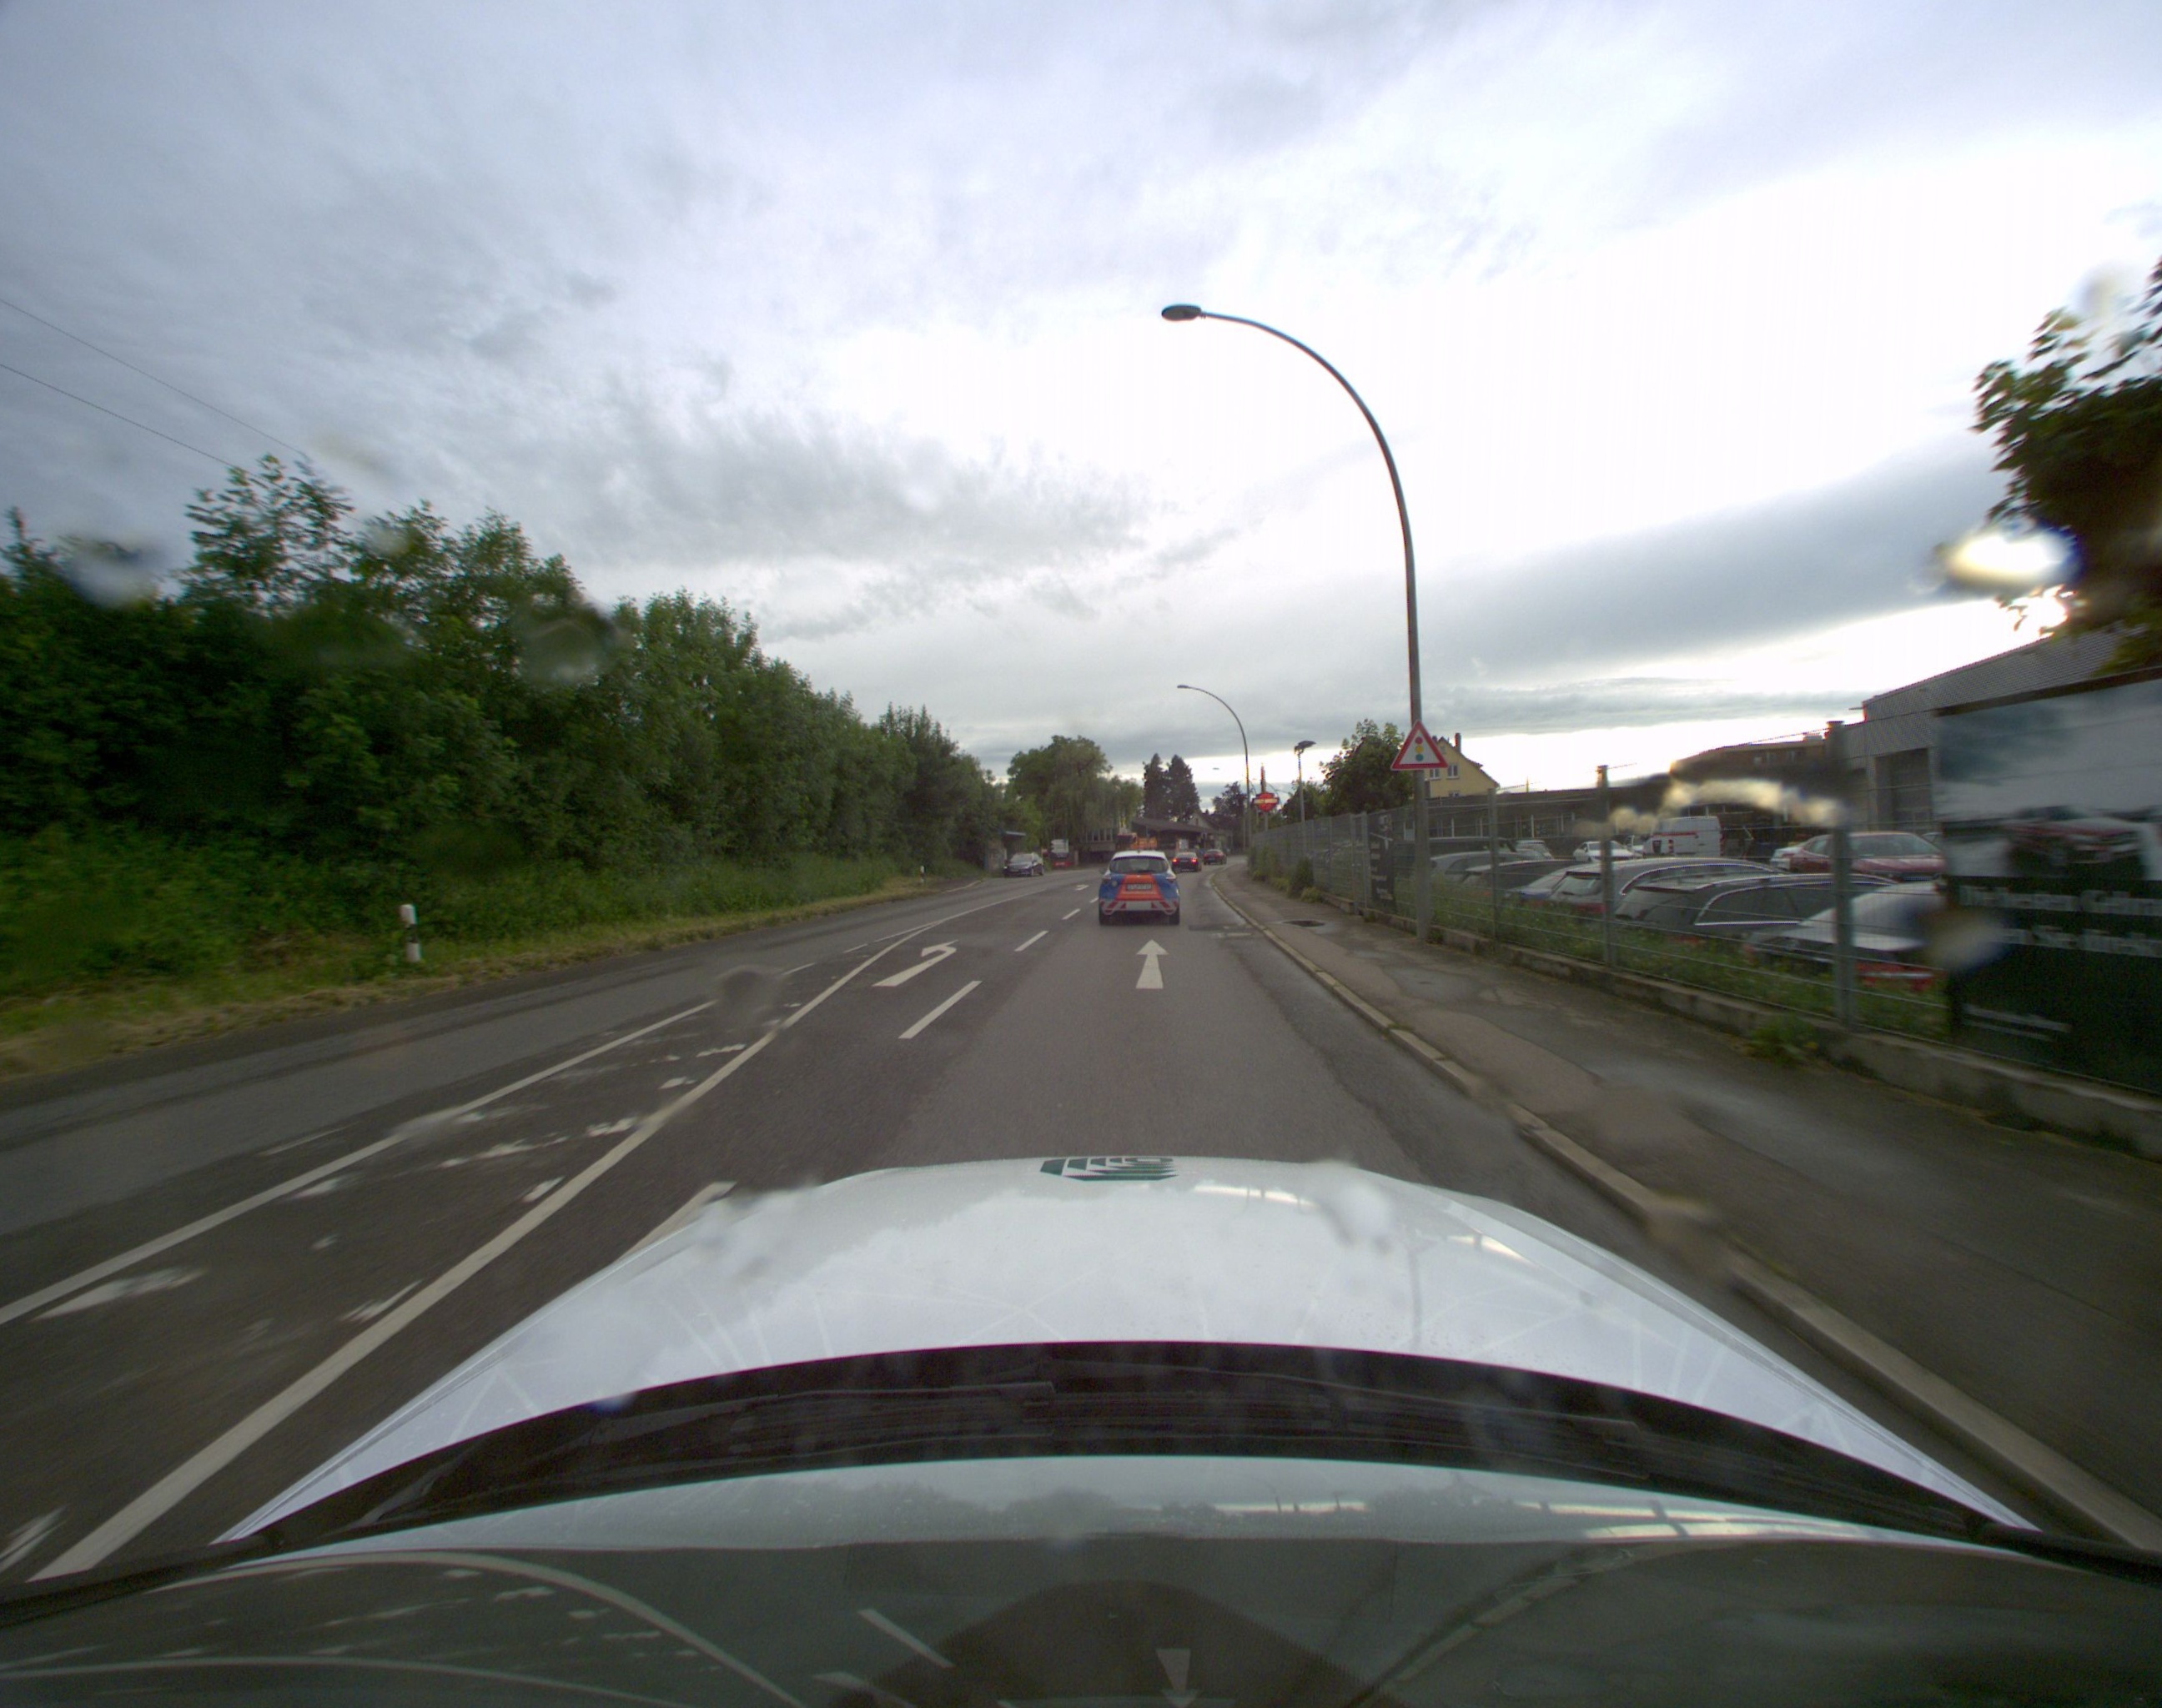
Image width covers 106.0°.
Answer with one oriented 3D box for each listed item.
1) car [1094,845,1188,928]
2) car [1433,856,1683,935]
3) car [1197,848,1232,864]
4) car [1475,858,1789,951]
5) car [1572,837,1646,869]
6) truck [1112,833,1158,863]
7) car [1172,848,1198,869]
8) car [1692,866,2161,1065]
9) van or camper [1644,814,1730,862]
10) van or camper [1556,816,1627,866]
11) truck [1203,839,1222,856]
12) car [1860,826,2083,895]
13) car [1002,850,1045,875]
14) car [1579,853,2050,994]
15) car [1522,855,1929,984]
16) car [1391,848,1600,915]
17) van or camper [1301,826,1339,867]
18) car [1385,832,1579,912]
[{"bbox_3d":[1.437,0.646,18.407,1.879,1.632,4.008,1,0,7],"label":"car"},{"bbox_3d":[9.480,0.804,16.475,3.966,1.434,1.829,-1,0,6],"label":"car"},{"bbox_3d":[12.596,0.236,76.627,1.975,1.420,4.024,0,-1,29],"label":"car"},{"bbox_3d":[9.157,0.809,13.881,3.966,1.404,2.004,1,-1,6],"label":"car"},{"bbox_3d":[25.526,0.000,39.518,1.876,1.420,4.485,1,-1,17],"label":"car"},{"bbox_3d":[6.793,-0.707,100.348,2.673,3.412,9.121,0,-1,24],"label":"truck"},{"bbox_3d":[7.316,0.315,57.138,1.711,1.376,3.941,1,-1,7],"label":"car"},{"bbox_3d":[7.829,0.818,6.714,4.091,1.370,2.001,1,-1,2],"label":"car"},{"bbox_3d":[27.399,-0.640,37.024,1.976,1.938,5.461,0,-1,24],"label":"van or camper"},{"bbox_3d":[28.423,-0.737,45.546,2.312,2.557,5.771,-2,0,22],"label":"van or camper"},{"bbox_3d":[24.545,-1.182,151.655,2.374,2.927,5.988,0,0,21],"label":"truck"},{"bbox_3d":[20.526,0.171,19.046,1.976,1.420,4.021,1,-1,22],"label":"car"},{"bbox_3d":[-3.533,0.580,51.214,1.984,1.474,4.706,1,-1,5],"label":"car"},{"bbox_3d":[8.123,0.743,9.275,3.974,1.408,1.593,1,-1,-1],"label":"car"},{"bbox_3d":[8.872,0.855,11.576,4.153,1.598,1.971,1,-1,5],"label":"car"},{"bbox_3d":[9.377,0.614,18.725,3.962,1.404,1.794,1,-1,10],"label":"car"},{"bbox_3d":[16.428,-0.506,55.827,2.024,2.593,6.622,-2,0,20],"label":"van or camper"},{"bbox_3d":[10.134,0.447,20.844,4.114,1.894,1.776,1,-1,6],"label":"car"}]
